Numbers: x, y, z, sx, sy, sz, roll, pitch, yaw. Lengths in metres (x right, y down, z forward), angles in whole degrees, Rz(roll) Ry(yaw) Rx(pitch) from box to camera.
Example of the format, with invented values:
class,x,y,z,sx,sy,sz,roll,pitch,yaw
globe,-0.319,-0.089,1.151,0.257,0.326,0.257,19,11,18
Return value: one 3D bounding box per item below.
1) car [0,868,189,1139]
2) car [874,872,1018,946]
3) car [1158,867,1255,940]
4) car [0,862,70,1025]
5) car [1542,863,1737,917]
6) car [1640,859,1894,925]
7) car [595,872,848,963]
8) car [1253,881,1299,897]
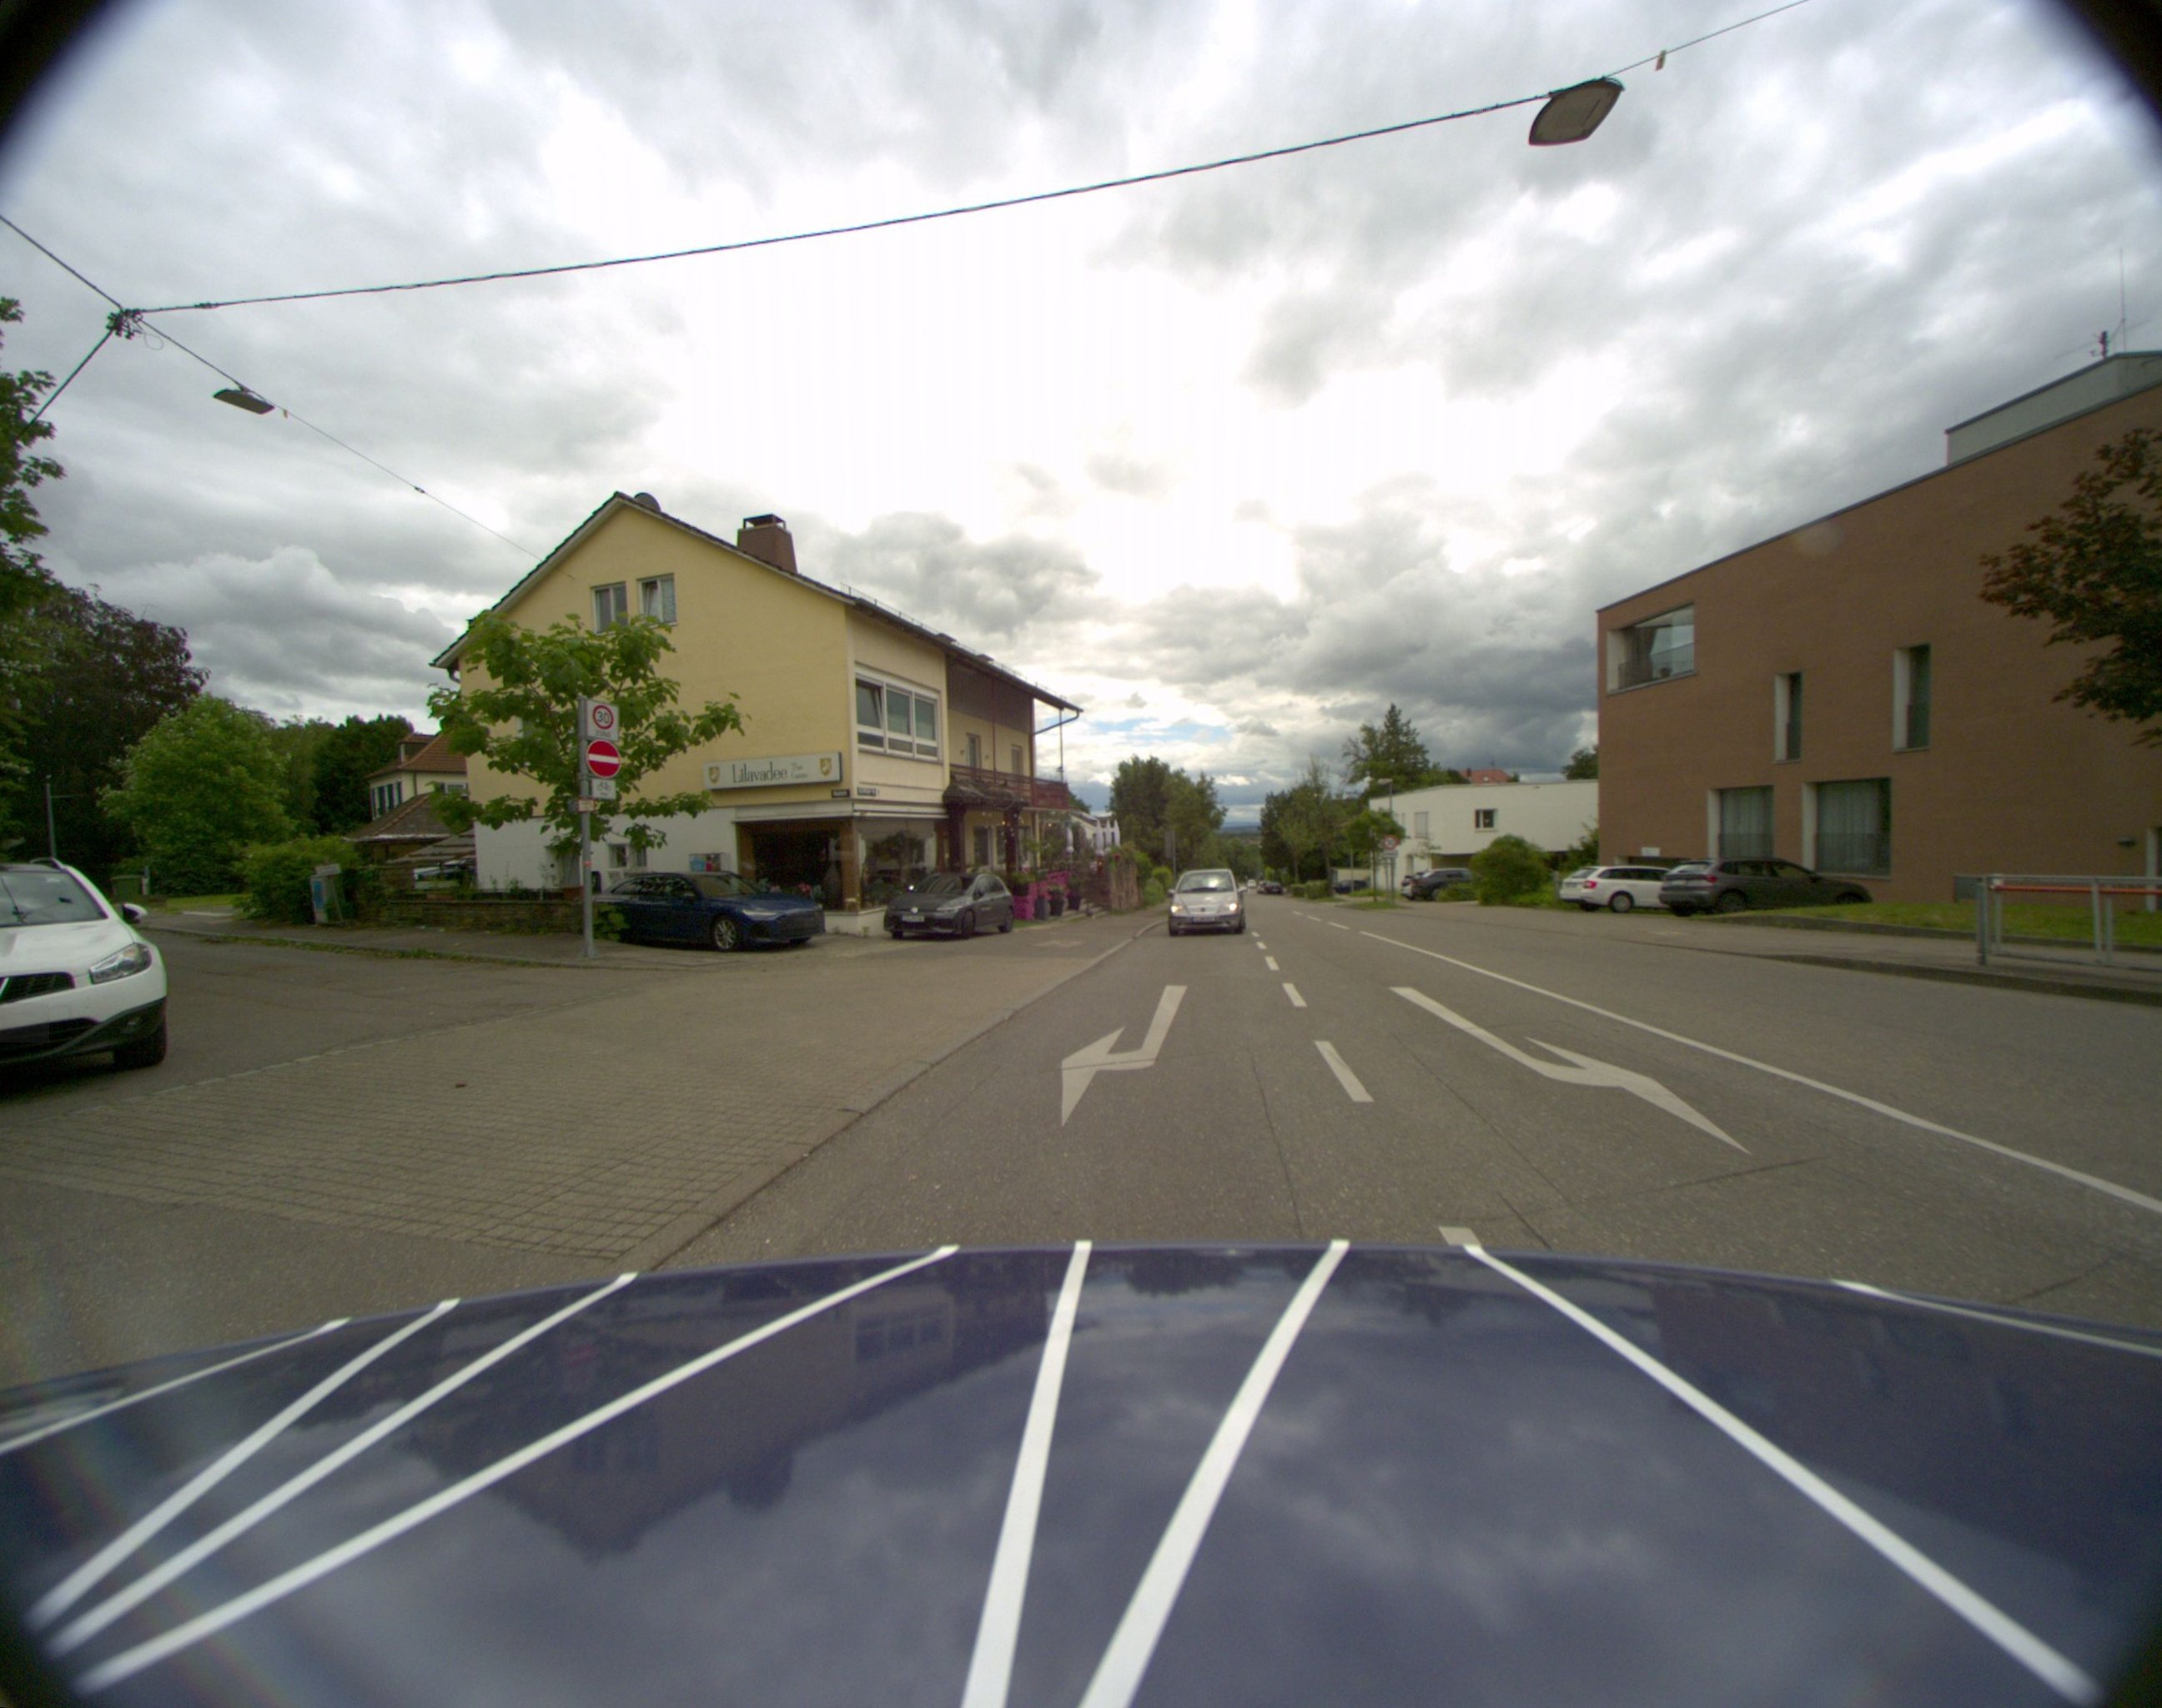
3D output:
class,x,y,z,sx,sy,sz,roll,pitch,yaw
car,-8.503,0.983,5.600,4.056,1.631,1.872,-1,2,32
car,-2.911,1.211,17.290,1.872,1.483,3.888,-1,-3,12
car,3.232,1.210,18.969,1.996,1.586,4.006,-2,-3,14
car,-13.034,0.961,8.364,4.056,1.651,1.872,-1,2,32
car,16.986,1.077,23.322,4.431,1.549,2.001,-1,0,5
car,17.001,0.914,19.051,4.431,1.549,2.001,-1,0,5
car,-6.753,1.105,14.314,4.219,1.519,1.936,-1,-1,22
car,20.760,3.695,80.970,4.431,1.549,2.001,-1,0,5
